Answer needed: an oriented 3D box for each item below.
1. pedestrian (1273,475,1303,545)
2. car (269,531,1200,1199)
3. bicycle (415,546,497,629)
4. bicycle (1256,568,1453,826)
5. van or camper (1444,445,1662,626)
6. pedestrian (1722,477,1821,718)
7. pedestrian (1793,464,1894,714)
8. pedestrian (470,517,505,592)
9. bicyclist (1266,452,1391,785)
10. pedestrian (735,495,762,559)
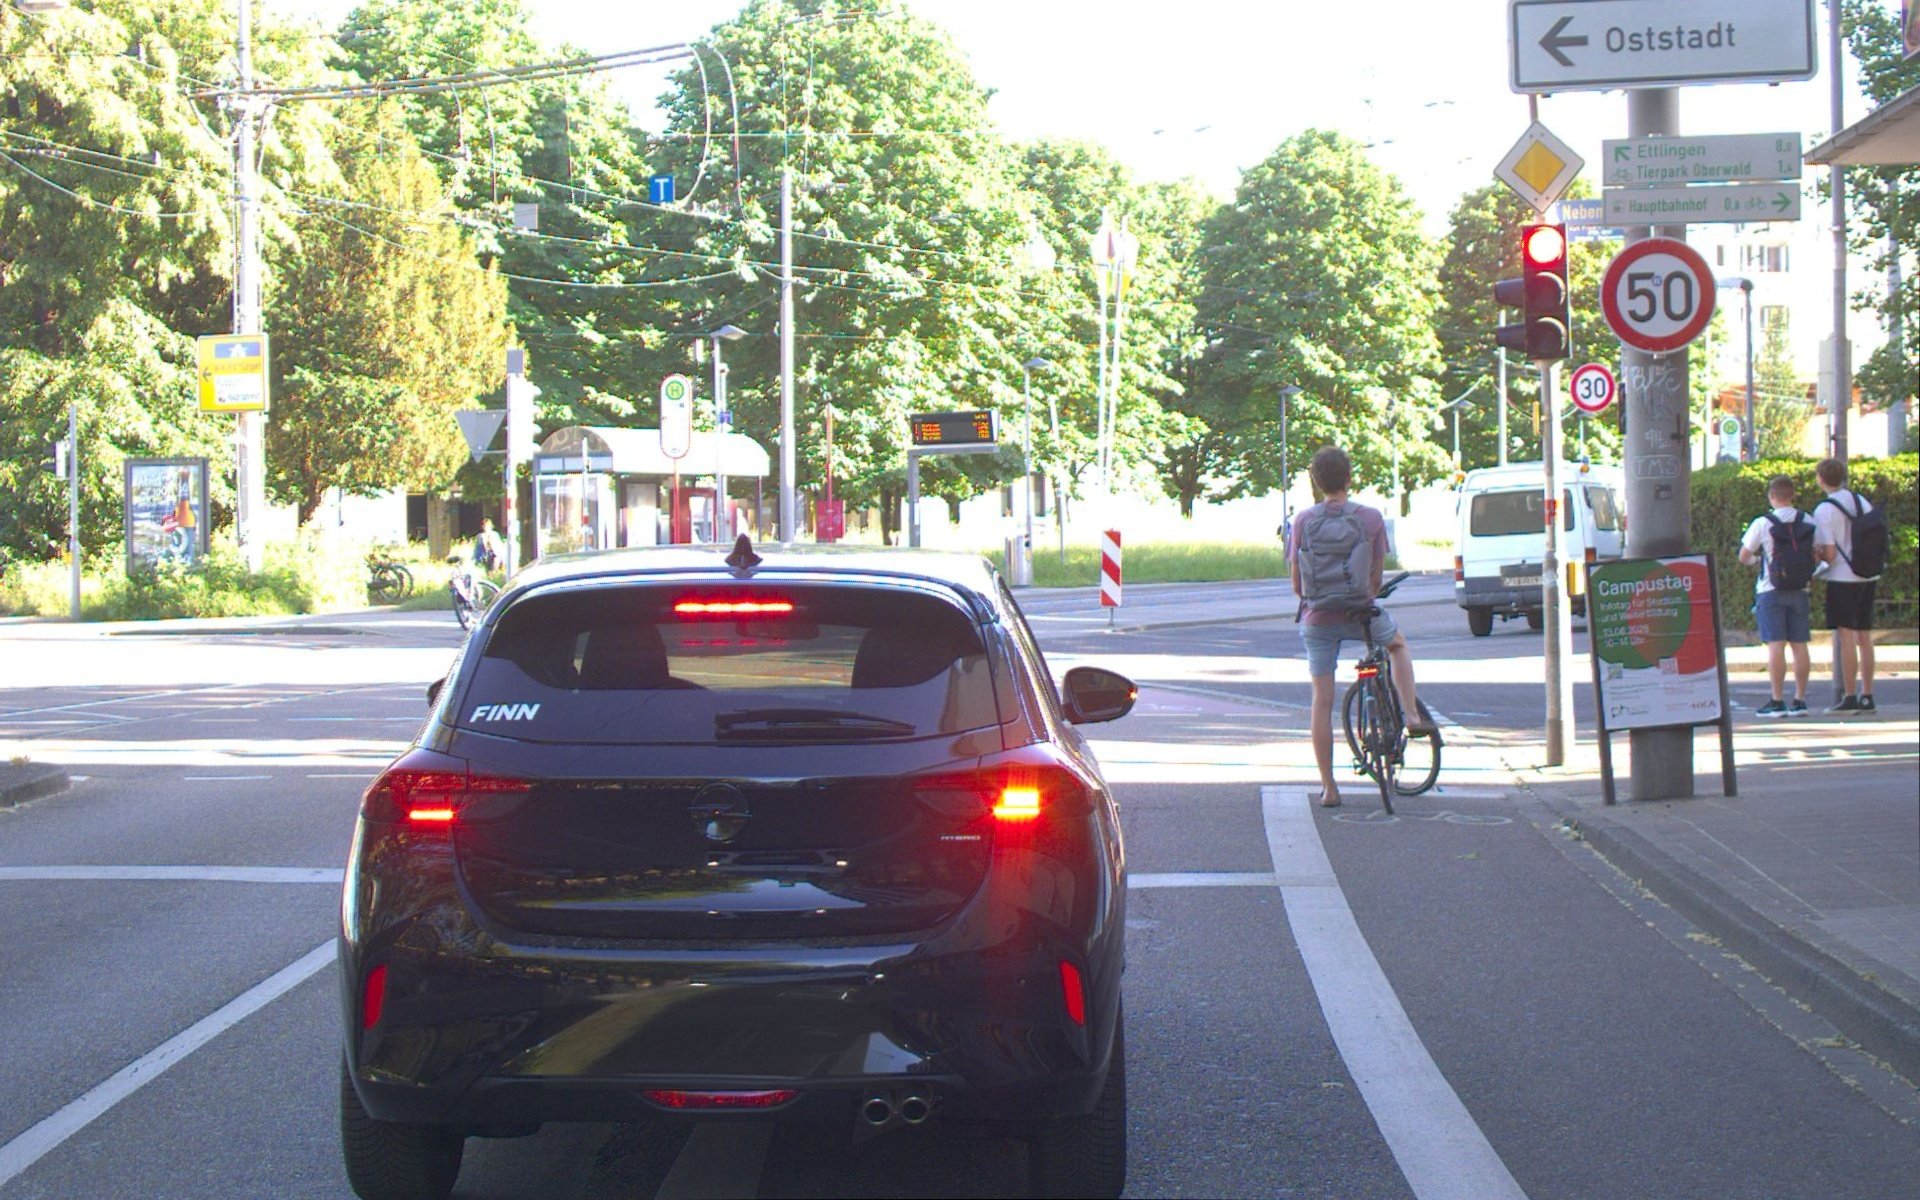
[{"bbox_3d":[8.736,-2.391,91.557,0.603,1.865,0.519,1,0,-28],"label":"pedestrian"},{"bbox_3d":[-0.469,0.564,8.803,1.840,1.457,3.984,0,1,-1],"label":"car"},{"bbox_3d":[-6.767,-0.178,46.252,0.796,1.061,2.185,0,1,-1],"label":"bicycle"},{"bbox_3d":[2.080,0.468,17.913,0.753,1.231,2.014,0,1,14],"label":"bicycle"},{"bbox_3d":[8.039,-0.845,46.275,2.031,2.302,4.535,1,1,21],"label":"van or camper"},{"bbox_3d":[6.039,-0.023,25.574,0.633,1.757,0.582,1,0,20],"label":"pedestrian"},{"bbox_3d":[6.554,-0.087,25.493,0.633,1.814,0.744,1,0,20],"label":"pedestrian"},{"bbox_3d":[-9.287,-0.892,67.516,0.570,1.467,0.666,-1,1,1],"label":"pedestrian"},{"bbox_3d":[1.907,0.087,17.744,0.534,1.686,0.567,0,1,17],"label":"bicyclist"},{"bbox_3d":[-6.277,-2.167,102.115,0.737,1.865,0.662,1,0,-6],"label":"pedestrian"}]
